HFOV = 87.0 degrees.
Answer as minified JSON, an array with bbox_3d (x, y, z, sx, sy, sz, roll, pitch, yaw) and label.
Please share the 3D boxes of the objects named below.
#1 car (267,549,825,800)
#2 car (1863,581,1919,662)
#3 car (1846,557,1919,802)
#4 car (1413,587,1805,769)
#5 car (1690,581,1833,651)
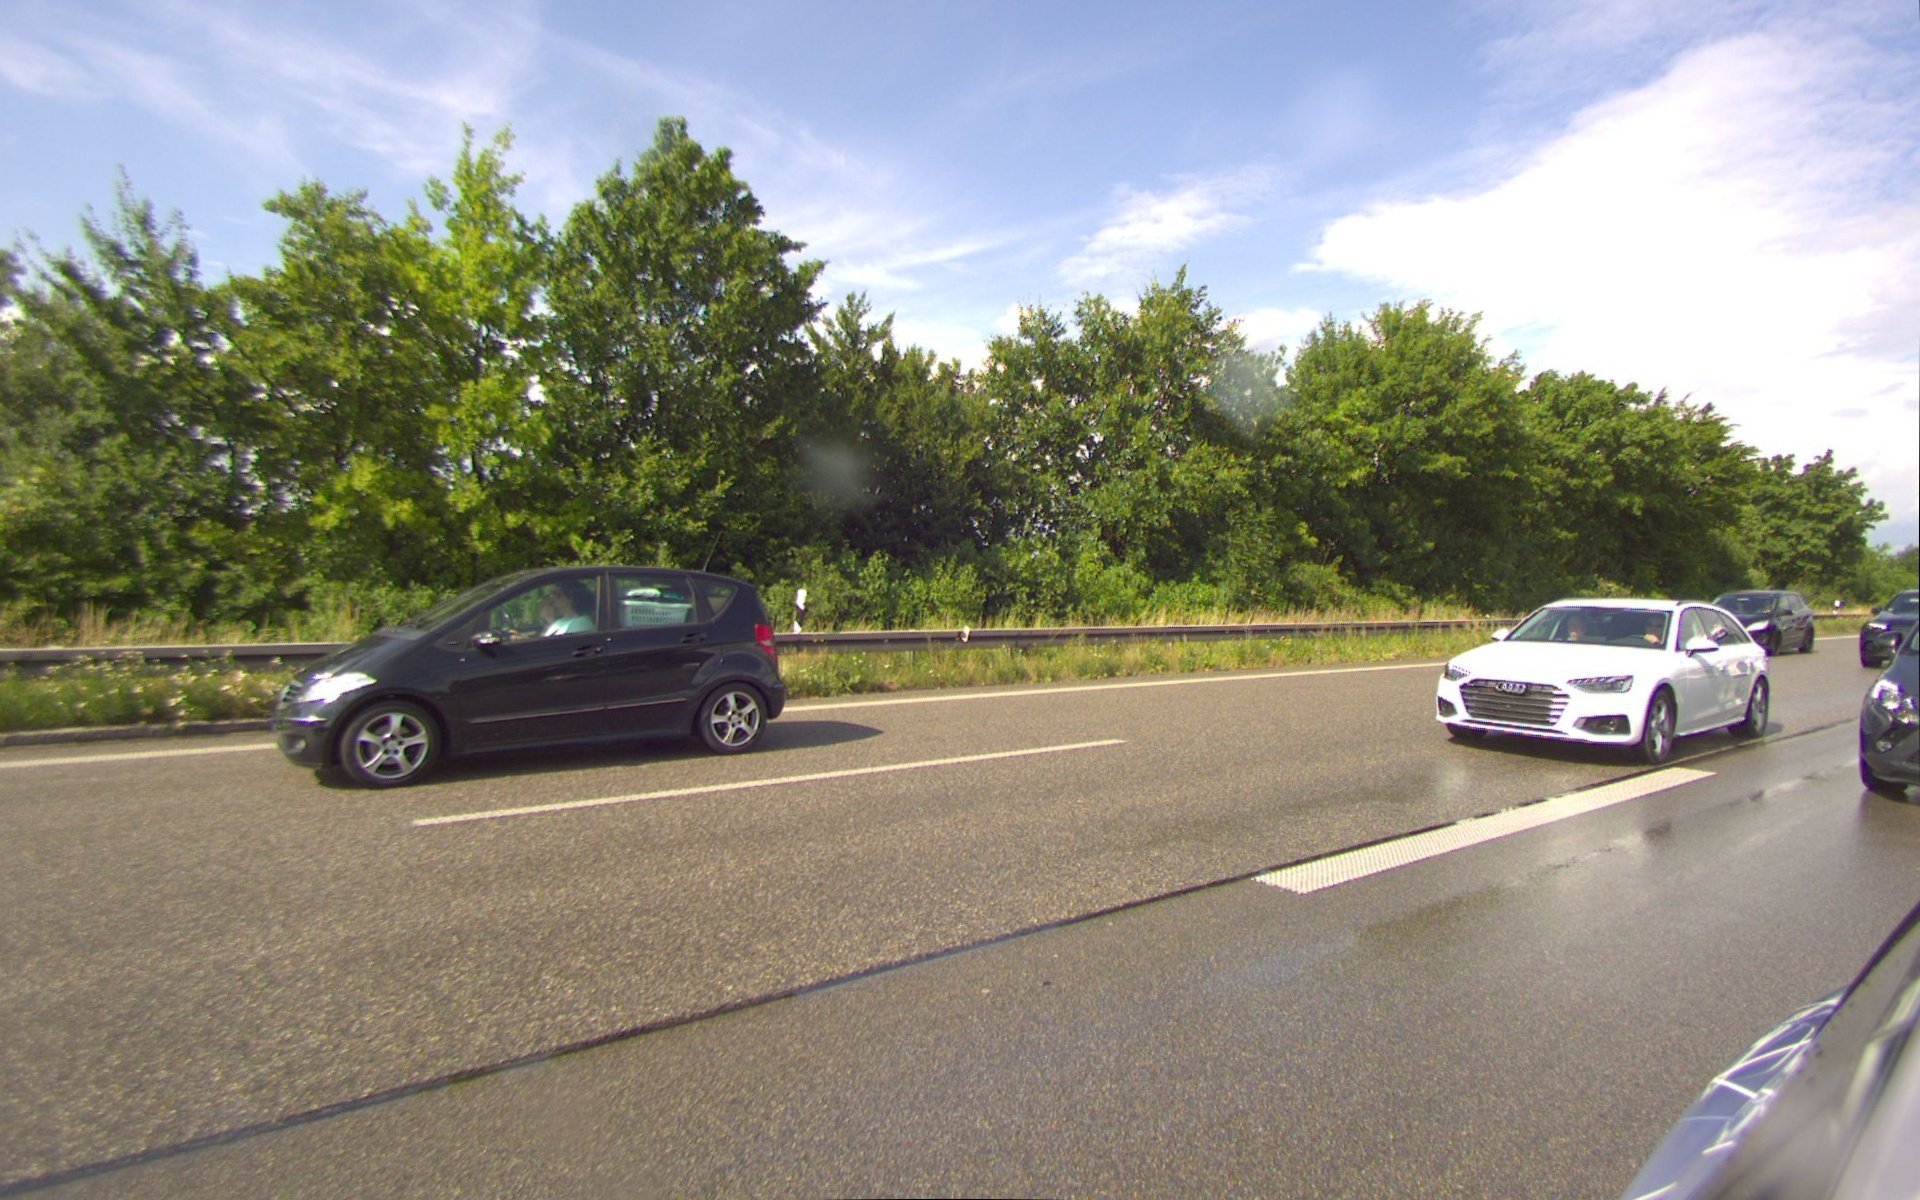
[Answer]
[{"bbox_3d":[-3.290,0.435,8.327,3.926,1.588,1.854,-1,1,-37],"label":"car"},{"bbox_3d":[20.803,0.427,21.180,4.567,1.601,1.999,0,1,-37],"label":"car"},{"bbox_3d":[8.592,0.551,7.735,4.315,1.668,1.884,0,1,-37],"label":"car"},{"bbox_3d":[6.603,0.596,10.131,4.426,1.443,1.832,-1,1,-36],"label":"car"},{"bbox_3d":[20.430,0.358,25.748,4.283,1.641,1.826,0,1,-37],"label":"car"}]
